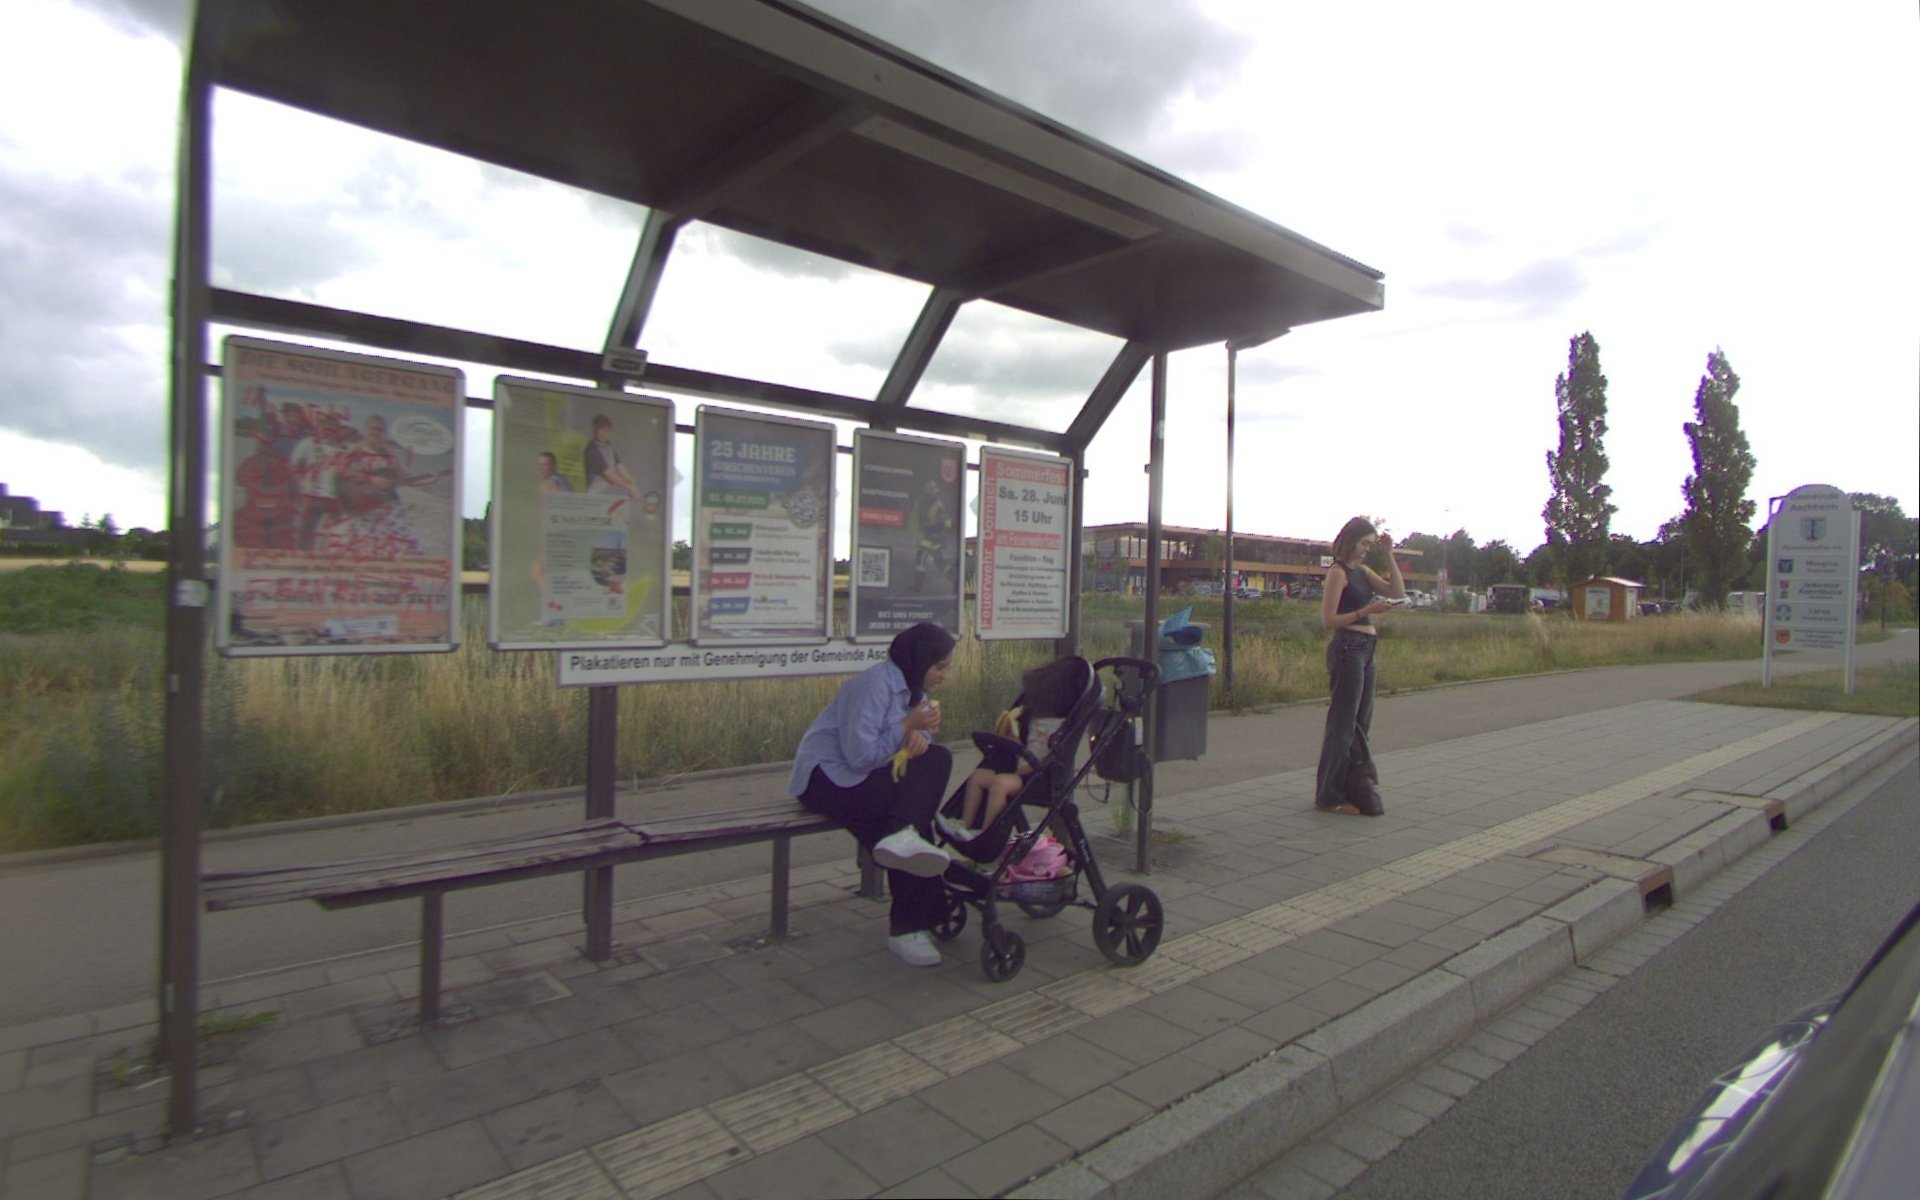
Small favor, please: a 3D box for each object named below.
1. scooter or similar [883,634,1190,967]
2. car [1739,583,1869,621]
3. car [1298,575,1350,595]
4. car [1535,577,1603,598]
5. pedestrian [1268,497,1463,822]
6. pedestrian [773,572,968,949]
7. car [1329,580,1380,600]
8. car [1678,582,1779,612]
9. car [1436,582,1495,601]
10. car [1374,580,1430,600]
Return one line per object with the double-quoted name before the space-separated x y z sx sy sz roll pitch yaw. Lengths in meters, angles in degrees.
"scooter or similar" 0.237 0.683 3.772 1.039 1.075 0.709 0 0 -4
"car" 46.921 0.078 56.396 1.964 2.039 5.311 0 1 -39
"car" 37.989 -1.560 105.696 4.839 2.039 1.970 0 1 42
"car" 60.307 -1.232 100.222 5.509 2.039 1.969 0 1 43
"pedestrian" 2.441 0.327 6.151 0.762 1.815 0.785 0 0 -20
"pedestrian" -0.319 0.561 3.824 0.655 1.319 0.504 0 0 5
"car" 42.868 -1.089 110.056 4.839 2.039 1.970 0 1 42
"car" 54.123 -0.205 71.345 5.509 2.039 1.969 0 1 43
"car" 56.230 -0.936 112.604 5.509 2.039 1.969 0 1 43
"car" 44.899 -1.016 102.824 4.839 2.039 1.970 0 1 42
